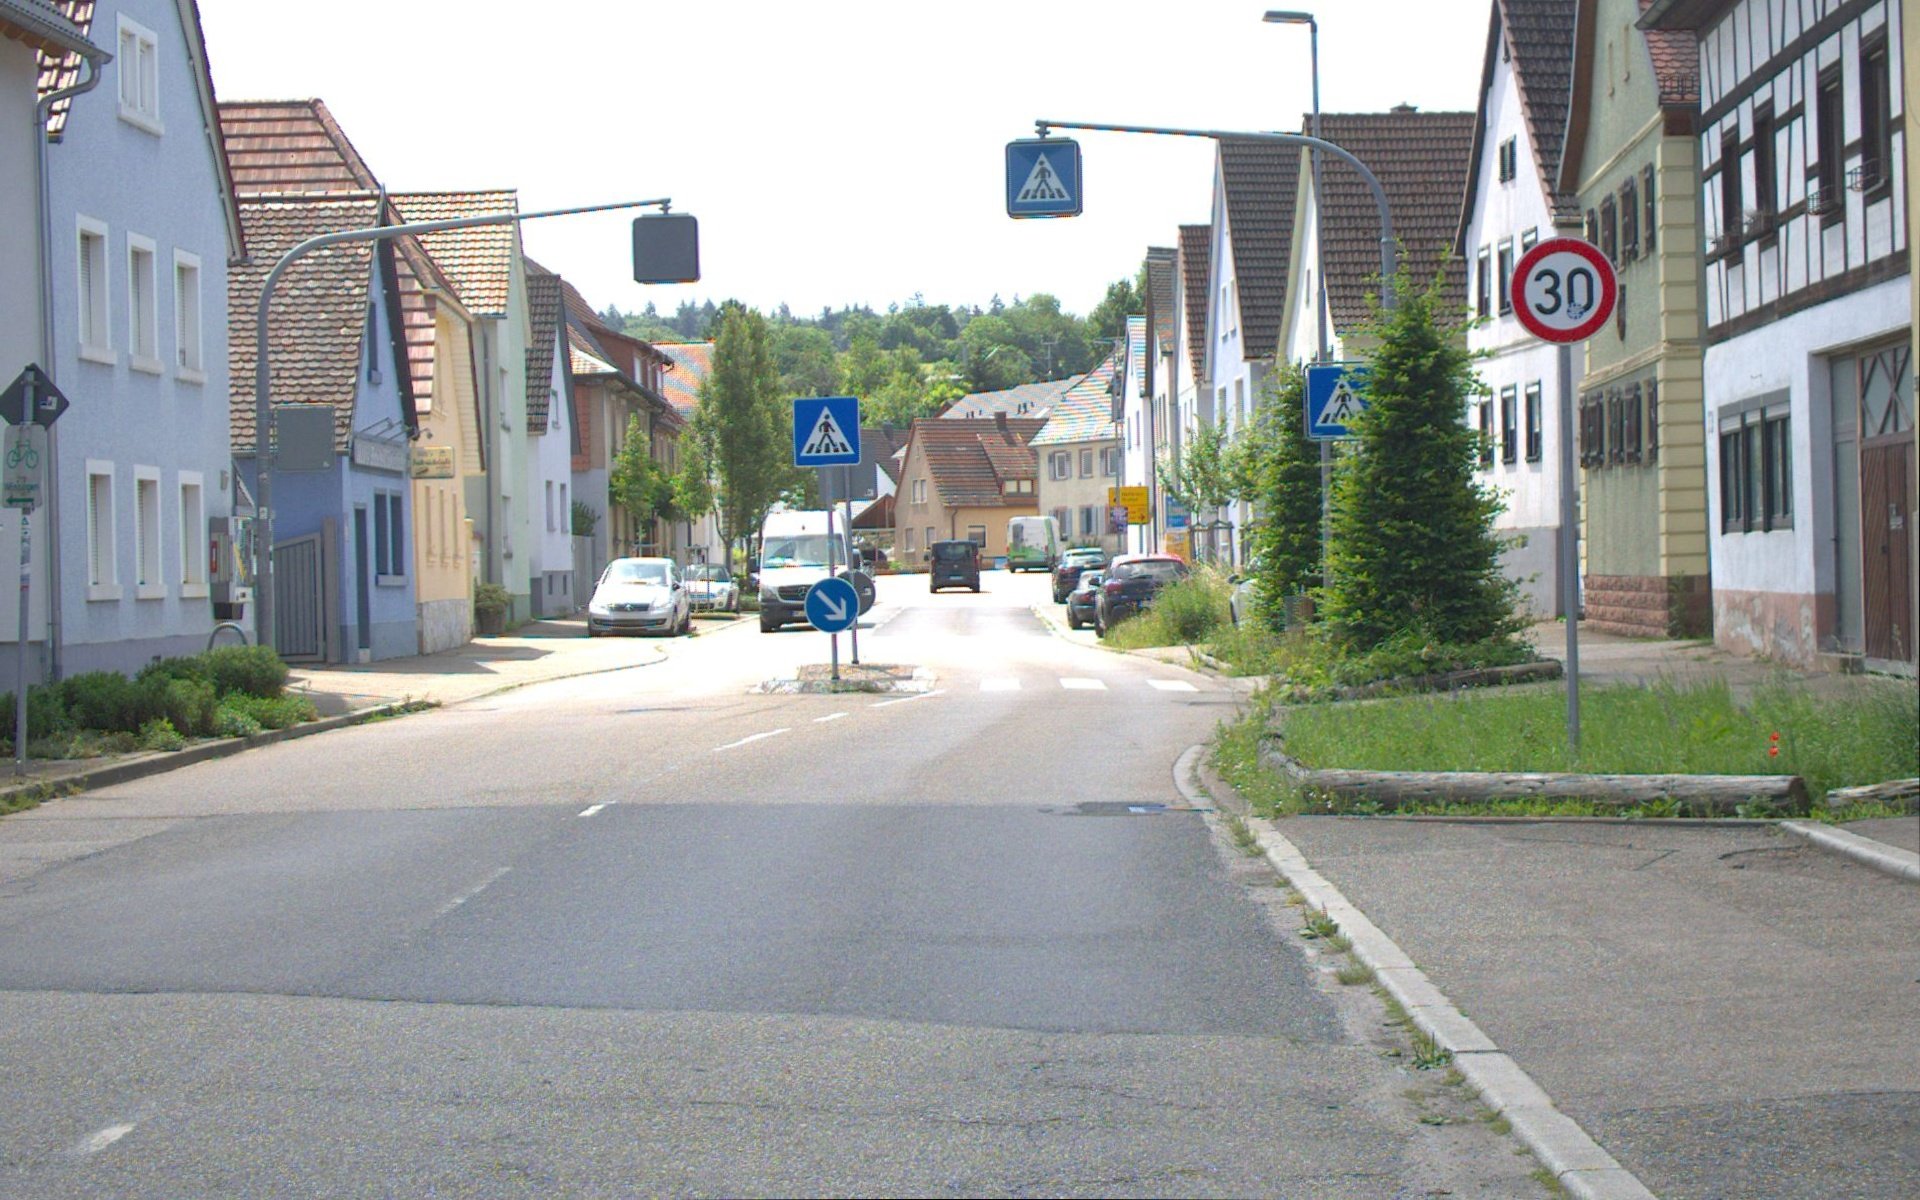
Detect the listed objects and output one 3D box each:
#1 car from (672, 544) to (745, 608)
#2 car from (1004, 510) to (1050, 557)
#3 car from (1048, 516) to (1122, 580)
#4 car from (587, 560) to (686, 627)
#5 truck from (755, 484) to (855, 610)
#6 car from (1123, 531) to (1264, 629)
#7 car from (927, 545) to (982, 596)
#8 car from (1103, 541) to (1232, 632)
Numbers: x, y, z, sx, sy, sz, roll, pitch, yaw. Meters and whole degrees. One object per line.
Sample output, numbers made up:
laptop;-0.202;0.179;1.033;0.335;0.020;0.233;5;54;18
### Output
car;-6.669;-0.618;91.373;1.667;1.590;4.000;0;-1;0
car;3.063;-3.032;157.742;1.993;2.007;4.000;0;-1;0
car;3.763;-1.551;104.008;1.993;1.810;4.000;0;-1;-1
car;-6.695;-0.115;71.079;1.993;1.317;3.709;0;-1;-5
truck;-3.349;-1.107;75.283;1.993;2.528;6.739;0;-1;-1
car;3.757;-0.298;55.902;1.993;1.503;4.000;0;-1;0
car;-0.217;-1.105;130.245;1.993;1.810;4.000;0;-1;-1
car;3.611;-0.217;60.401;1.993;1.503;4.000;0;-1;0
